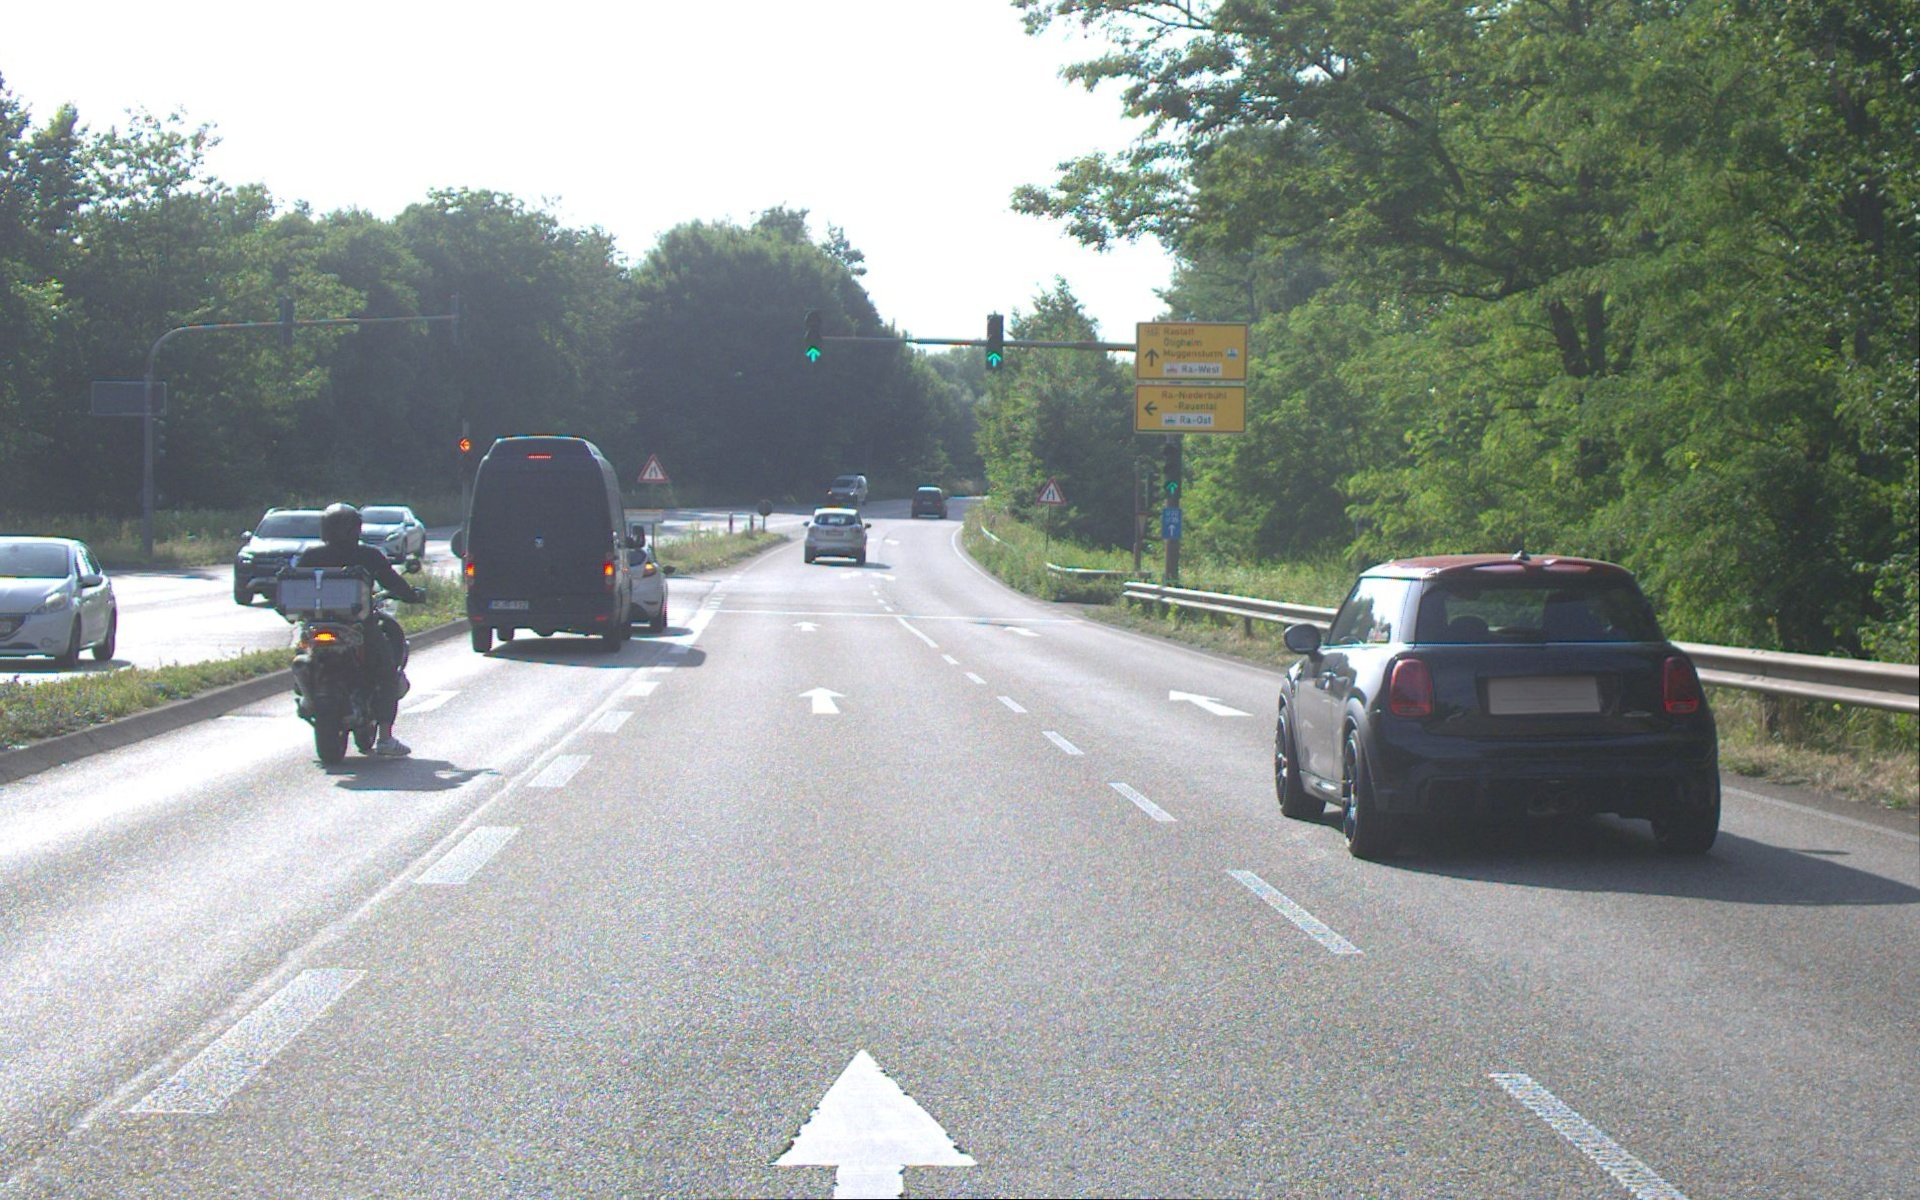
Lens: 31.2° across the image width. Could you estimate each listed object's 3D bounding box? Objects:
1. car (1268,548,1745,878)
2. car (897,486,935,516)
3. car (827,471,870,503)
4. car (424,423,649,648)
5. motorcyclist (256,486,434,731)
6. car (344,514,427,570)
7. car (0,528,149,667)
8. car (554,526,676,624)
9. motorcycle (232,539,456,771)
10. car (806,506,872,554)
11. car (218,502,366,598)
[{"bbox_3d":[2.672,0.486,17.665,1.819,1.462,3.873,1,1,0],"label":"car"},{"bbox_3d":[-2.351,-5.235,181.986,1.744,1.532,3.927,2,1,-4],"label":"car"},{"bbox_3d":[-6.788,-6.886,209.803,1.851,1.780,4.669,3,1,7],"label":"car"},{"bbox_3d":[-5.739,-0.915,47.521,2.210,2.878,7.011,0,1,0],"label":"car"},{"bbox_3d":[-4.225,0.041,23.699,0.884,1.610,1.290,2,1,3],"label":"motorcyclist"},{"bbox_3d":[-15.845,-1.611,95.006,1.883,1.498,4.265,-1,1,-4],"label":"car"},{"bbox_3d":[-10.610,-0.074,39.286,1.788,1.406,4.227,2,1,-2],"label":"car"},{"bbox_3d":[-5.481,-0.425,54.944,1.645,1.484,4.104,0,1,-2],"label":"car"},{"bbox_3d":[-4.207,0.335,23.723,0.909,1.448,2.689,-2,2,2],"label":"motorcycle"},{"bbox_3d":[-3.704,-2.172,105.884,1.761,1.375,3.971,2,1,1],"label":"car"},{"bbox_3d":[-12.742,-0.985,65.828,2.076,1.757,4.757,-1,1,-2],"label":"car"}]
